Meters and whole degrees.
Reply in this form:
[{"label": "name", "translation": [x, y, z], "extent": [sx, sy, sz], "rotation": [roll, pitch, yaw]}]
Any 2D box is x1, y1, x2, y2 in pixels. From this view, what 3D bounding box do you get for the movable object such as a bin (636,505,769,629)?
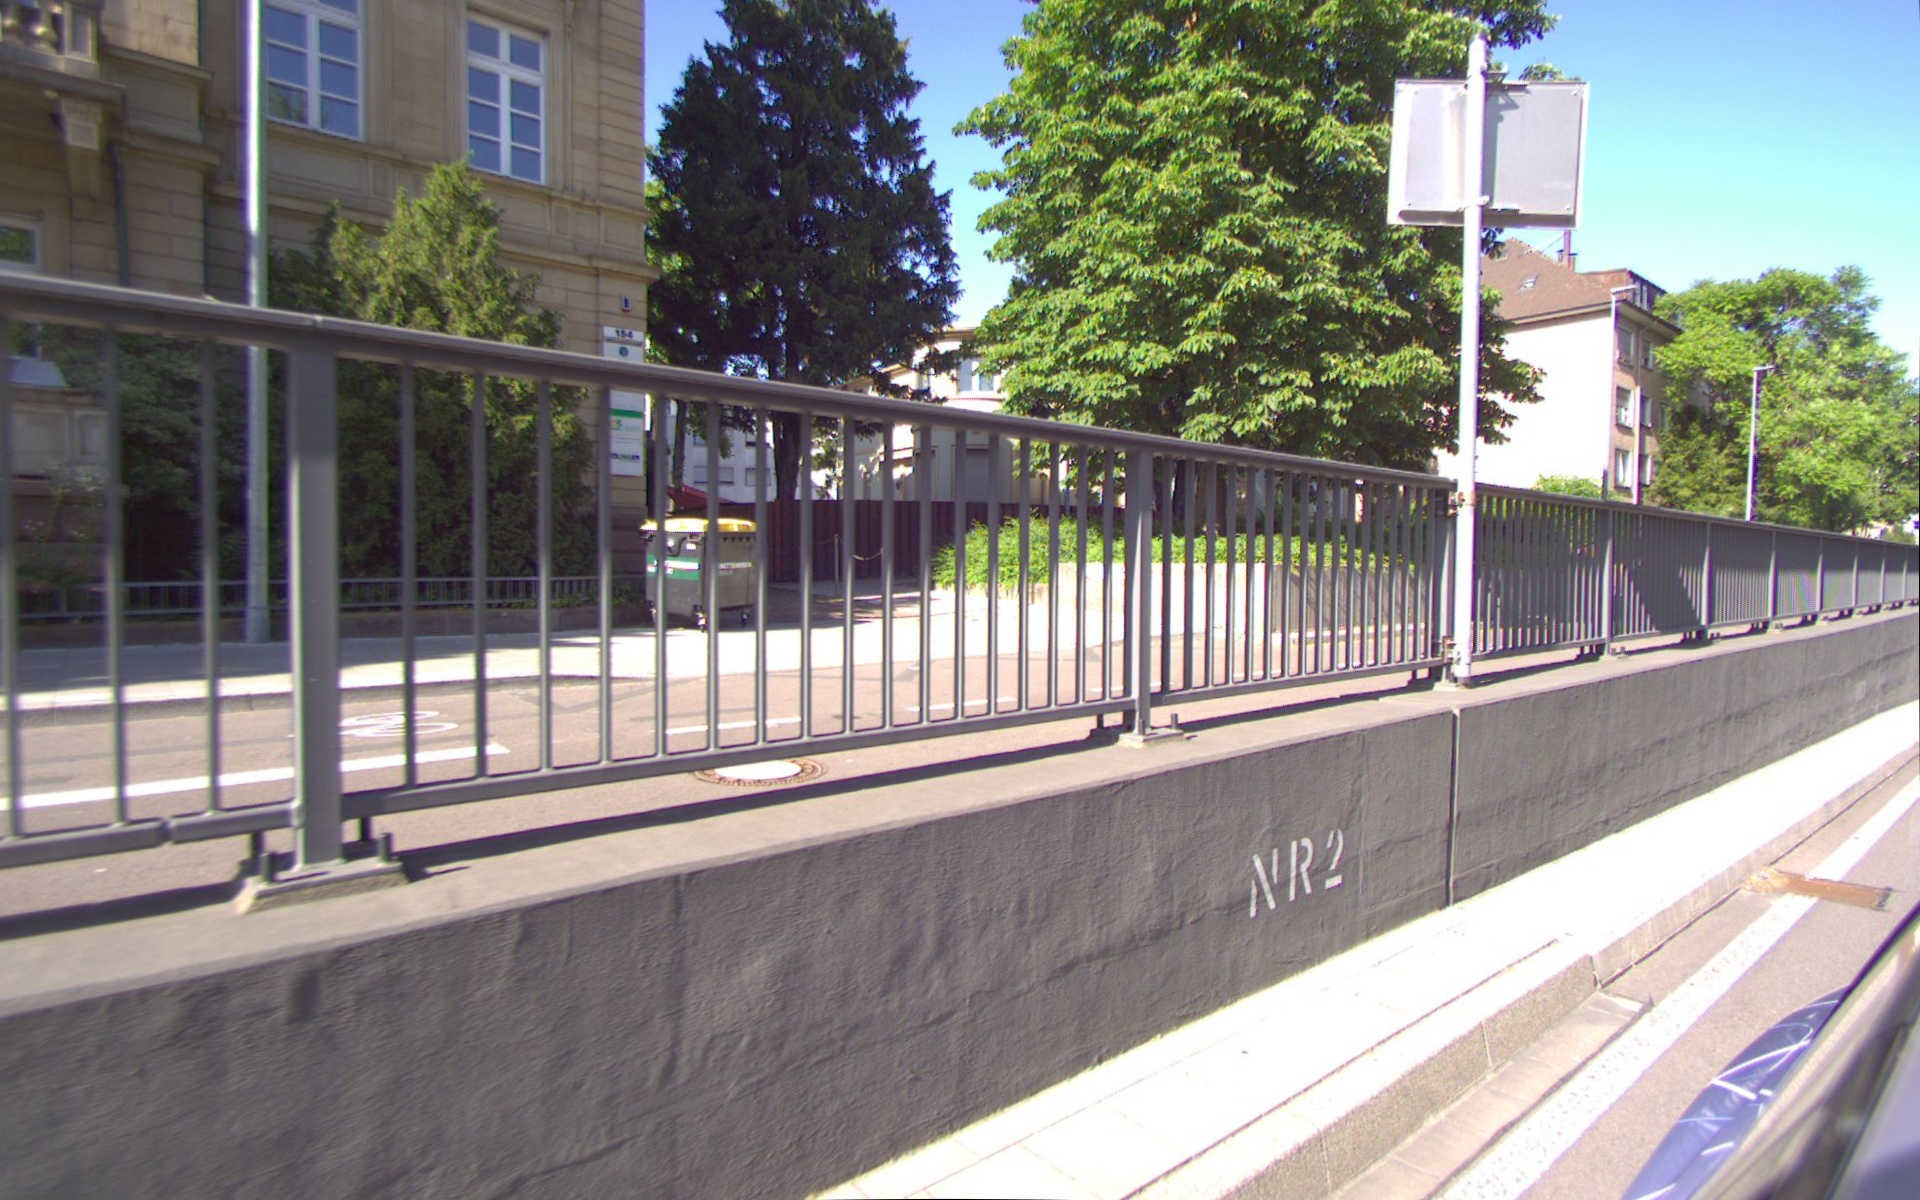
[{"label": "movable object such as a bin", "translation": [-3.147, -0.411, 12.440], "extent": [0.965, 1.415, 1.276], "rotation": [3, 3, 27]}]
